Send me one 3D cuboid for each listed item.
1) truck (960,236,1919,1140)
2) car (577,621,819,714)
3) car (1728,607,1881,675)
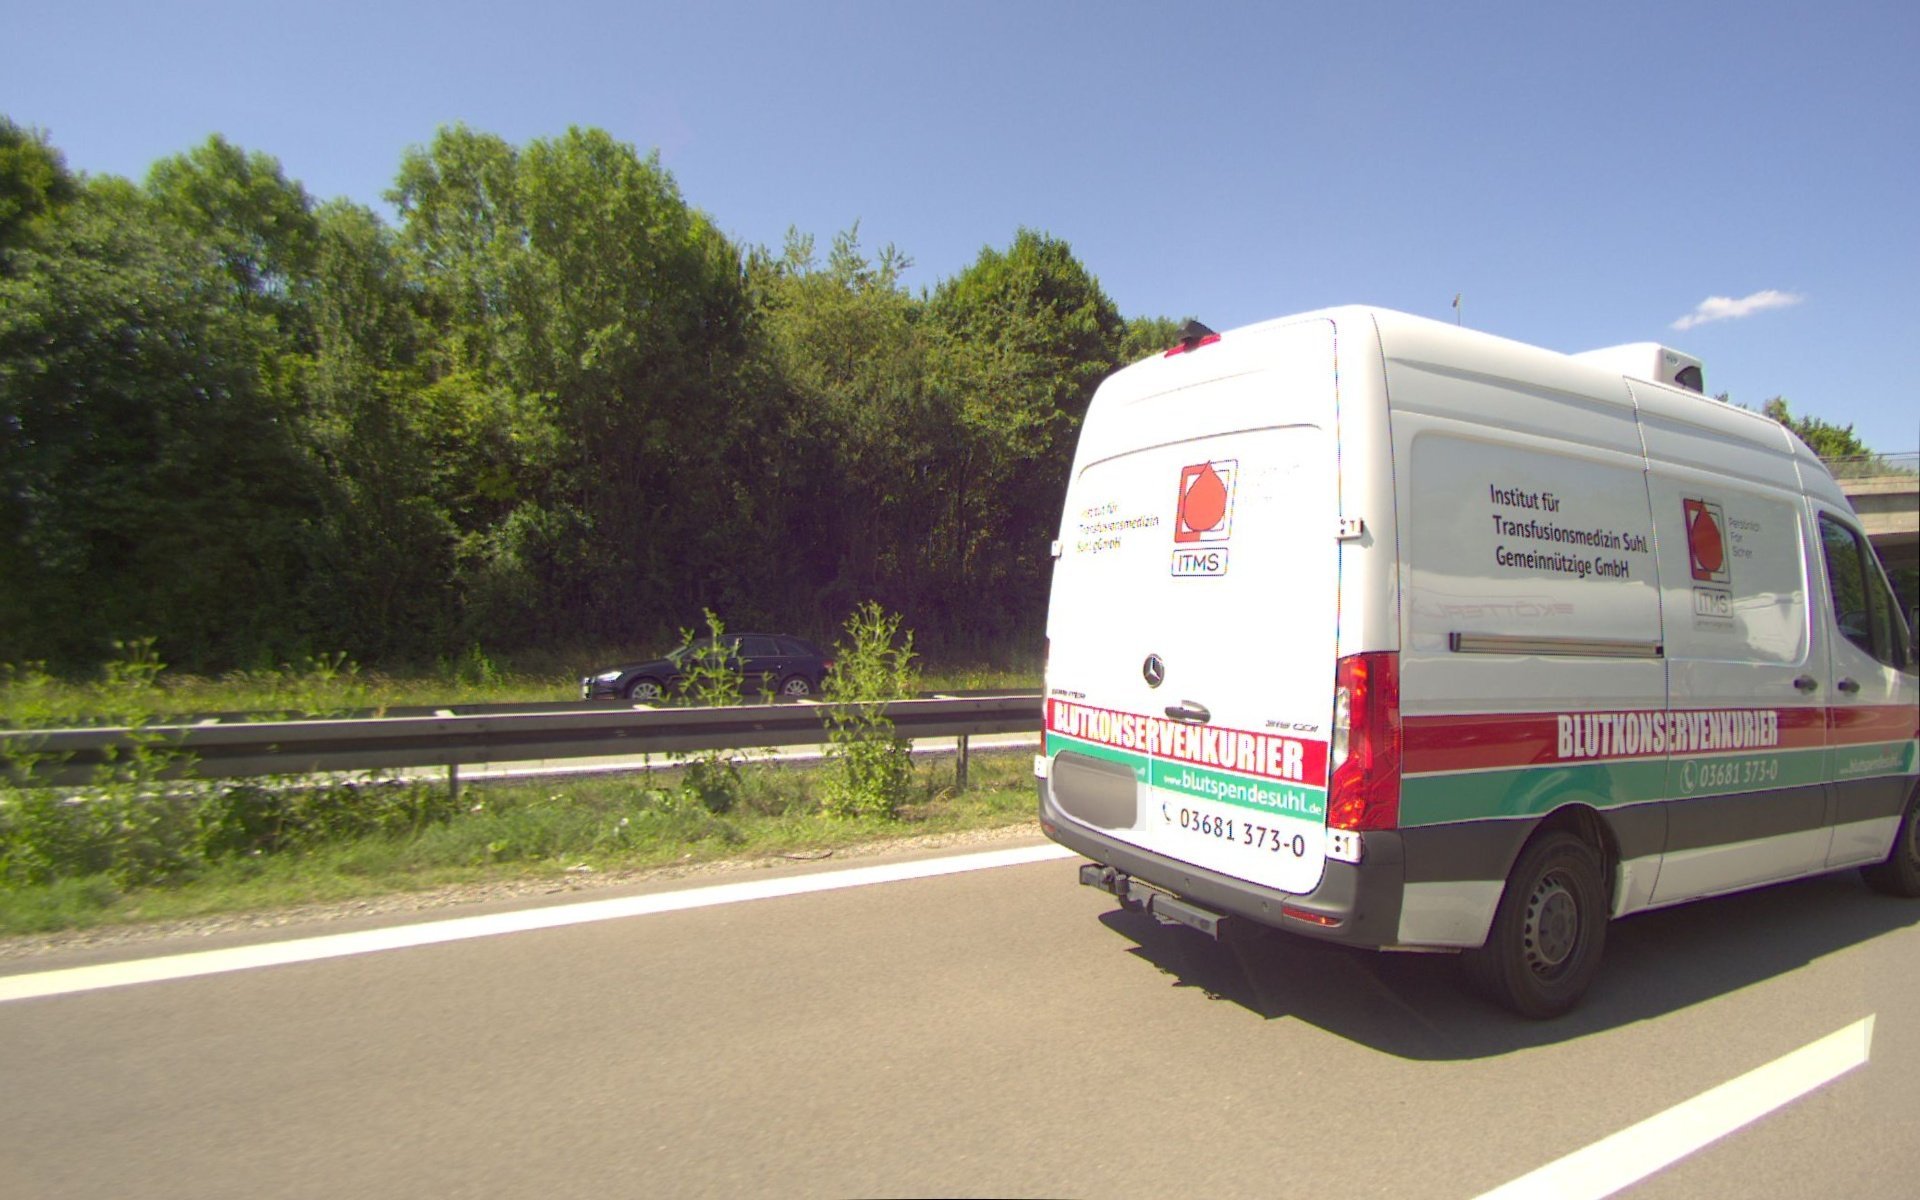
[{"bbox_3d":[3.366,0.313,5.384,6.612,2.576,1.984,1,0,-30],"label":"truck"},{"bbox_3d":[-4.869,1.227,18.742,4.078,1.574,1.790,1,-4,-29],"label":"car"},{"bbox_3d":[22.521,1.088,26.771,4.078,1.688,1.789,1,-2,-29],"label":"car"}]
